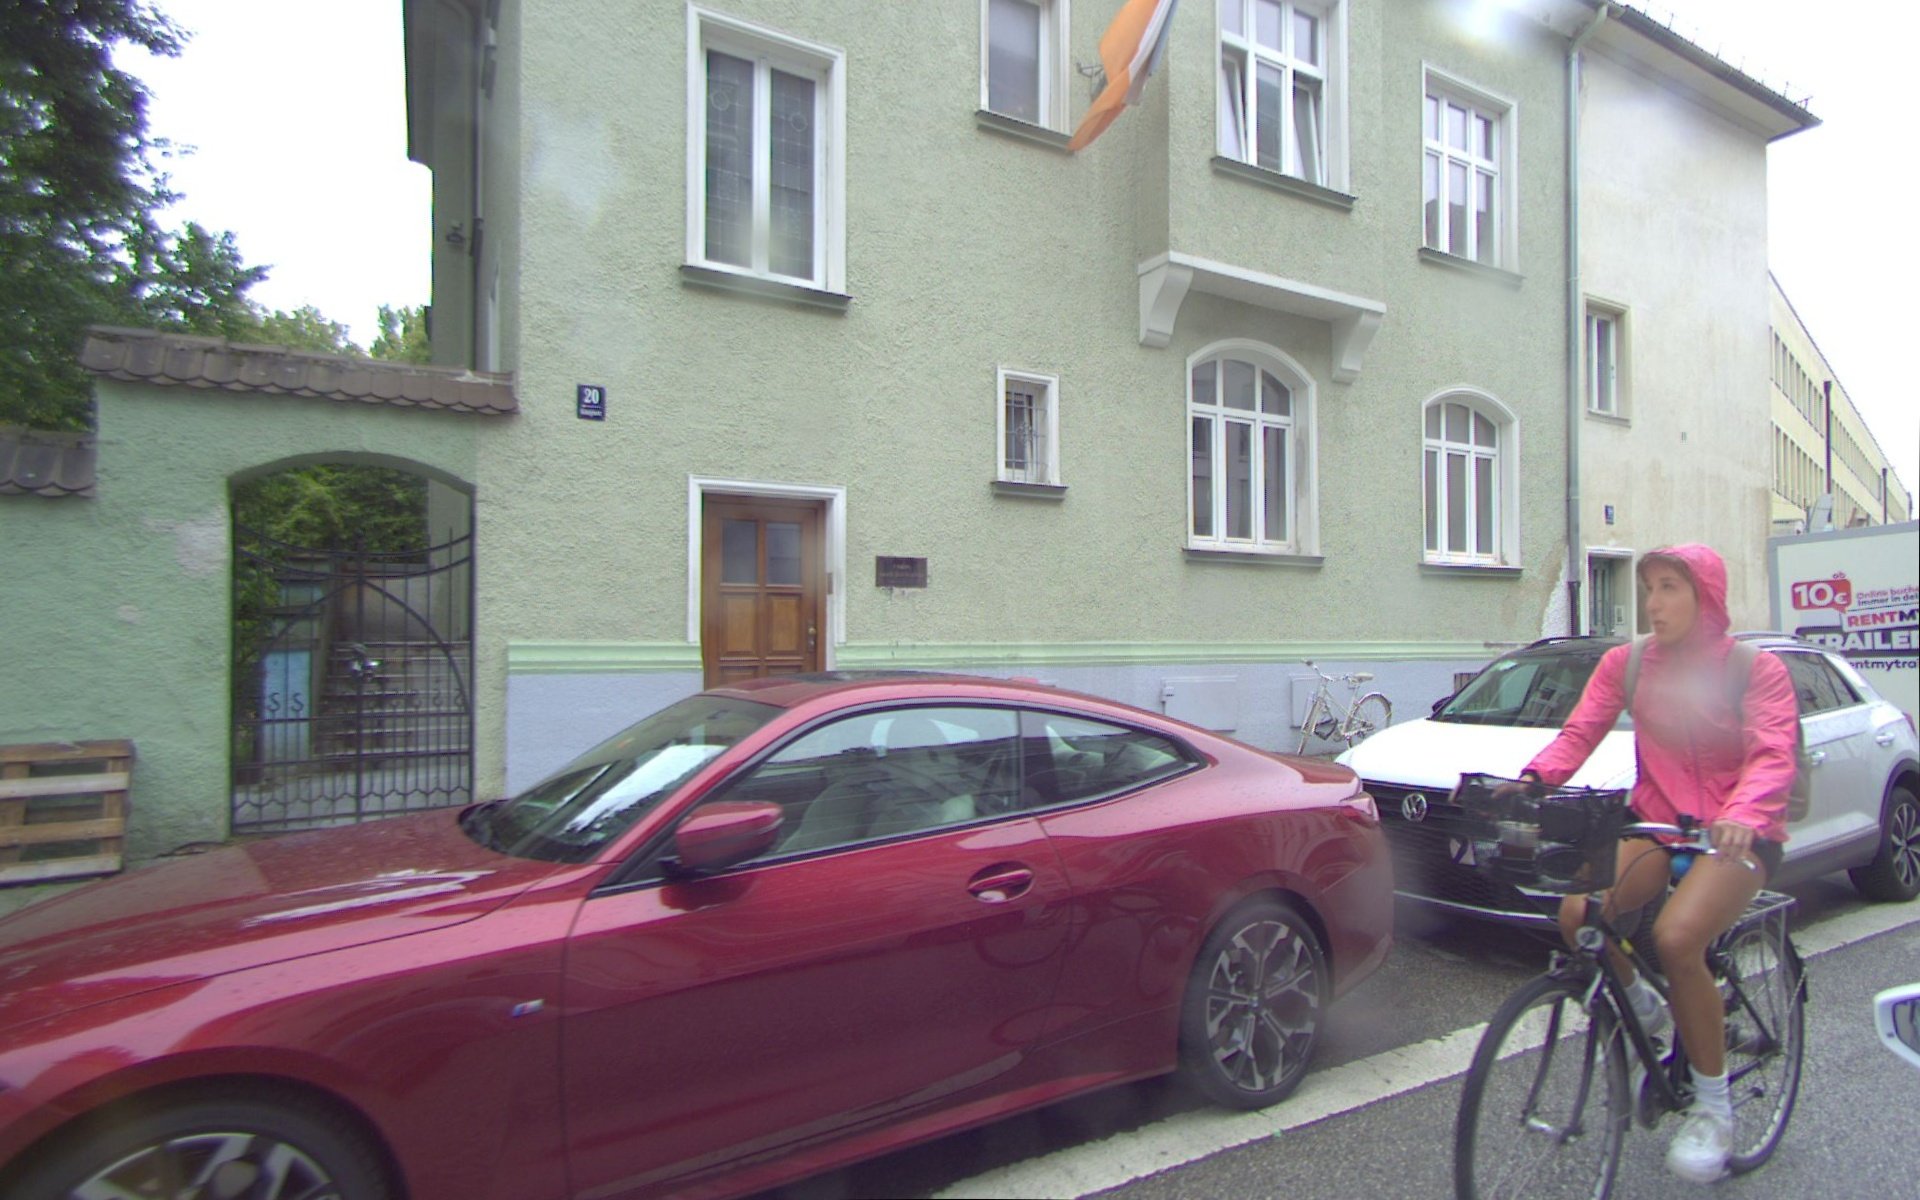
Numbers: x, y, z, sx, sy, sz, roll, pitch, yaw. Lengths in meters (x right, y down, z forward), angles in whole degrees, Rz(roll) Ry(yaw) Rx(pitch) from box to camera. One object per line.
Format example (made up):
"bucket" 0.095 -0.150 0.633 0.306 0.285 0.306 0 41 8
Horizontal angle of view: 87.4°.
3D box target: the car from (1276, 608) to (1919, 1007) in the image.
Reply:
"car" 3.867 0.926 5.855 3.876 1.623 1.679 1 -4 -31

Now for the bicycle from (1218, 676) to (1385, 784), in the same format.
"bicycle" 3.487 1.281 10.193 1.908 0.919 0.519 1 1 -33

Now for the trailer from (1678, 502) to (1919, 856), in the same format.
"trailer" 8.419 0.618 8.669 4.329 2.493 1.704 1 -4 -27

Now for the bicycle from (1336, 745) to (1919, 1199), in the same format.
"bicycle" 1.844 1.029 2.682 1.750 1.143 0.502 1 -3 -27

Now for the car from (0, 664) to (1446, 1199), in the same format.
"car" -0.532 0.953 3.379 4.284 1.430 1.852 2 -4 -31

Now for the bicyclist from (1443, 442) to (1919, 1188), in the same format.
"bicyclist" 1.932 0.469 2.674 0.954 1.582 0.692 0 -3 -27
